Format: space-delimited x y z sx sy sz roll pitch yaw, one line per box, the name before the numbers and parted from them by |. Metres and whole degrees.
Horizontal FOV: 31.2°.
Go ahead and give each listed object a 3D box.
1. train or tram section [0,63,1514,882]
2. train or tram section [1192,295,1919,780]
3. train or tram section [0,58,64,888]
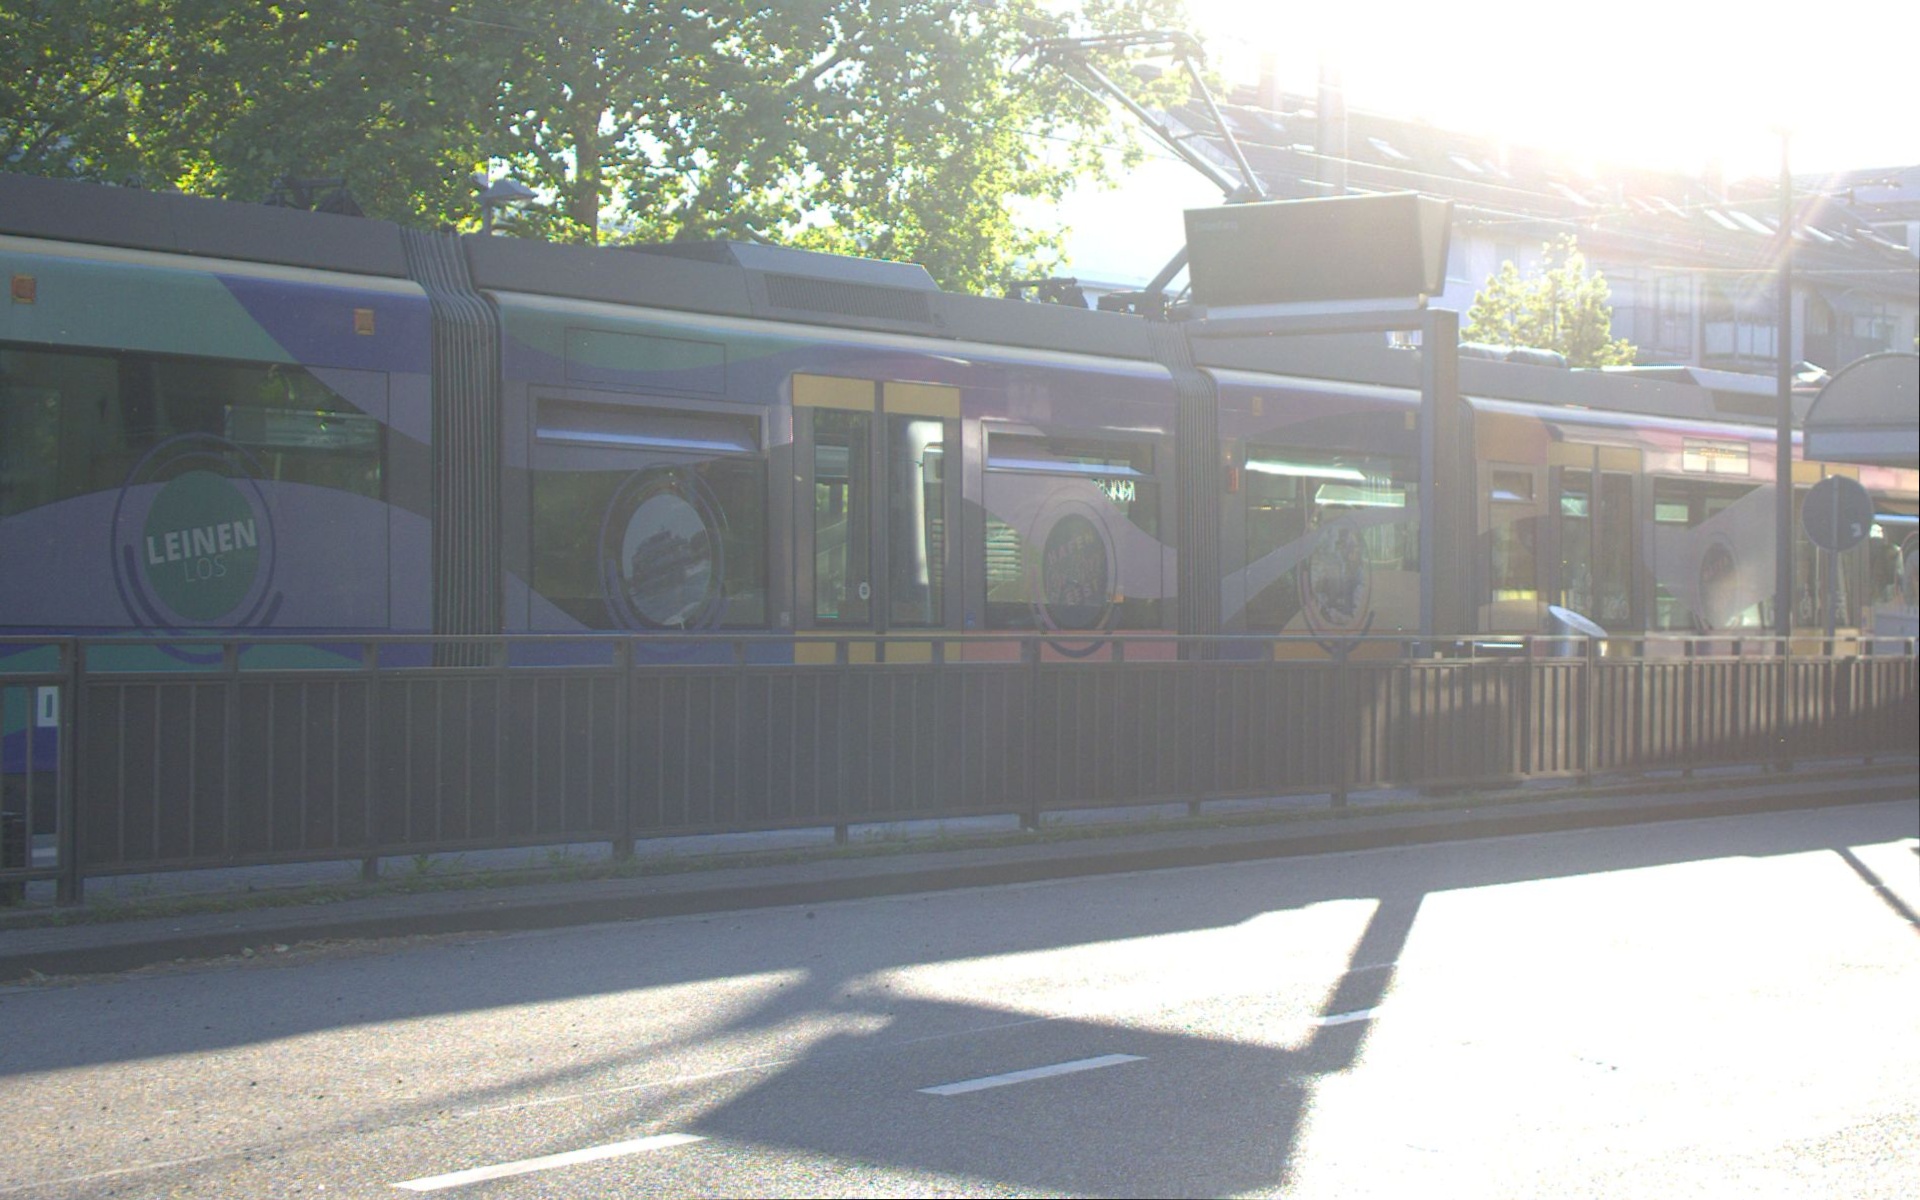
train or tram section | -1.063 -0.517 20.701 2.735 3.537 12.755 1 0 39
train or tram section | 6.990 -0.415 30.880 2.646 3.507 13.303 1 0 39
train or tram section | -9.166 -0.597 10.498 2.856 3.521 13.365 1 0 39
